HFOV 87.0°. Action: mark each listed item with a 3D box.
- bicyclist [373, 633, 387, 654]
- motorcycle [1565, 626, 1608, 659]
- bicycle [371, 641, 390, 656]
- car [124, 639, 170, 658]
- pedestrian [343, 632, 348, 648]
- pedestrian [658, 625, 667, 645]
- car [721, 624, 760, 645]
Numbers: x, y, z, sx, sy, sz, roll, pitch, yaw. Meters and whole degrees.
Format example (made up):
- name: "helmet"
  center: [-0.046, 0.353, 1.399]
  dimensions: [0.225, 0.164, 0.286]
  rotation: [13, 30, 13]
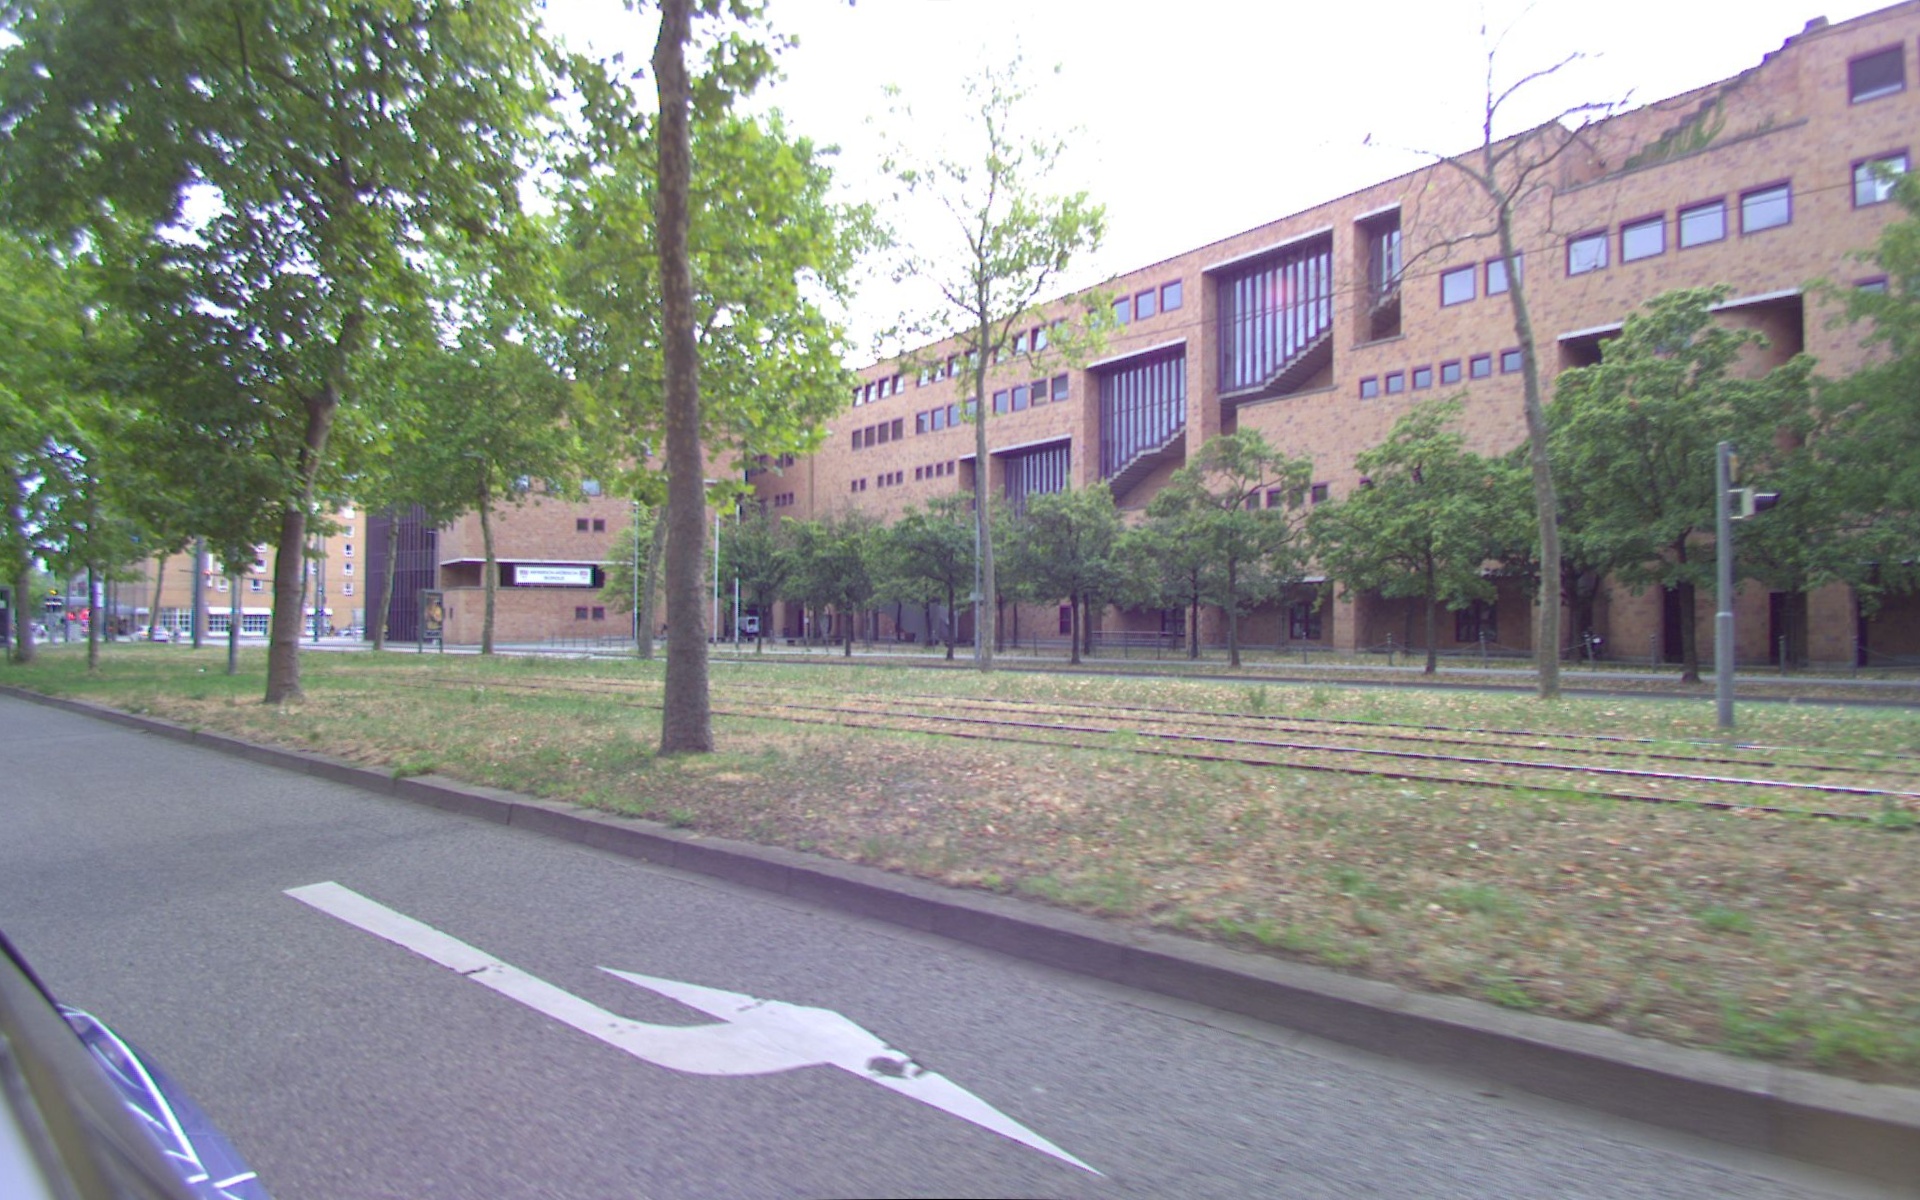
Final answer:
- name: "bicyclist"
  center: [-44.916, 3.386, 78.386]
  dimensions: [0.984, 1.603, 0.657]
  rotation: [-2, -3, 43]
- name: "motorcycle"
  center: [23.791, 1.597, 38.466]
  dimensions: [0.790, 1.200, 2.185]
  rotation: [-1, -2, 17]
- name: "bicycle"
  center: [-44.881, 3.756, 78.350]
  dimensions: [2.093, 1.092, 0.661]
  rotation: [-2, -3, 43]
- name: "car"
  center: [-62.852, 3.703, 78.217]
  dimensions: [4.652, 1.432, 1.766]
  rotation: [-2, -3, 39]
- name: "pedestrian"
  center: [-77.705, 5.056, 127.902]
  dimensions: [0.516, 2.029, 0.447]
  rotation: [1, -2, -36]
- name: "pedestrian"
  center: [-22.691, 2.688, 77.236]
  dimensions: [0.500, 1.543, 0.521]
  rotation: [1, -3, -35]
- name: "car"
  center: [-19.903, 3.117, 91.729]
  dimensions: [1.868, 1.821, 4.007]
  rotation: [1, -2, -39]
